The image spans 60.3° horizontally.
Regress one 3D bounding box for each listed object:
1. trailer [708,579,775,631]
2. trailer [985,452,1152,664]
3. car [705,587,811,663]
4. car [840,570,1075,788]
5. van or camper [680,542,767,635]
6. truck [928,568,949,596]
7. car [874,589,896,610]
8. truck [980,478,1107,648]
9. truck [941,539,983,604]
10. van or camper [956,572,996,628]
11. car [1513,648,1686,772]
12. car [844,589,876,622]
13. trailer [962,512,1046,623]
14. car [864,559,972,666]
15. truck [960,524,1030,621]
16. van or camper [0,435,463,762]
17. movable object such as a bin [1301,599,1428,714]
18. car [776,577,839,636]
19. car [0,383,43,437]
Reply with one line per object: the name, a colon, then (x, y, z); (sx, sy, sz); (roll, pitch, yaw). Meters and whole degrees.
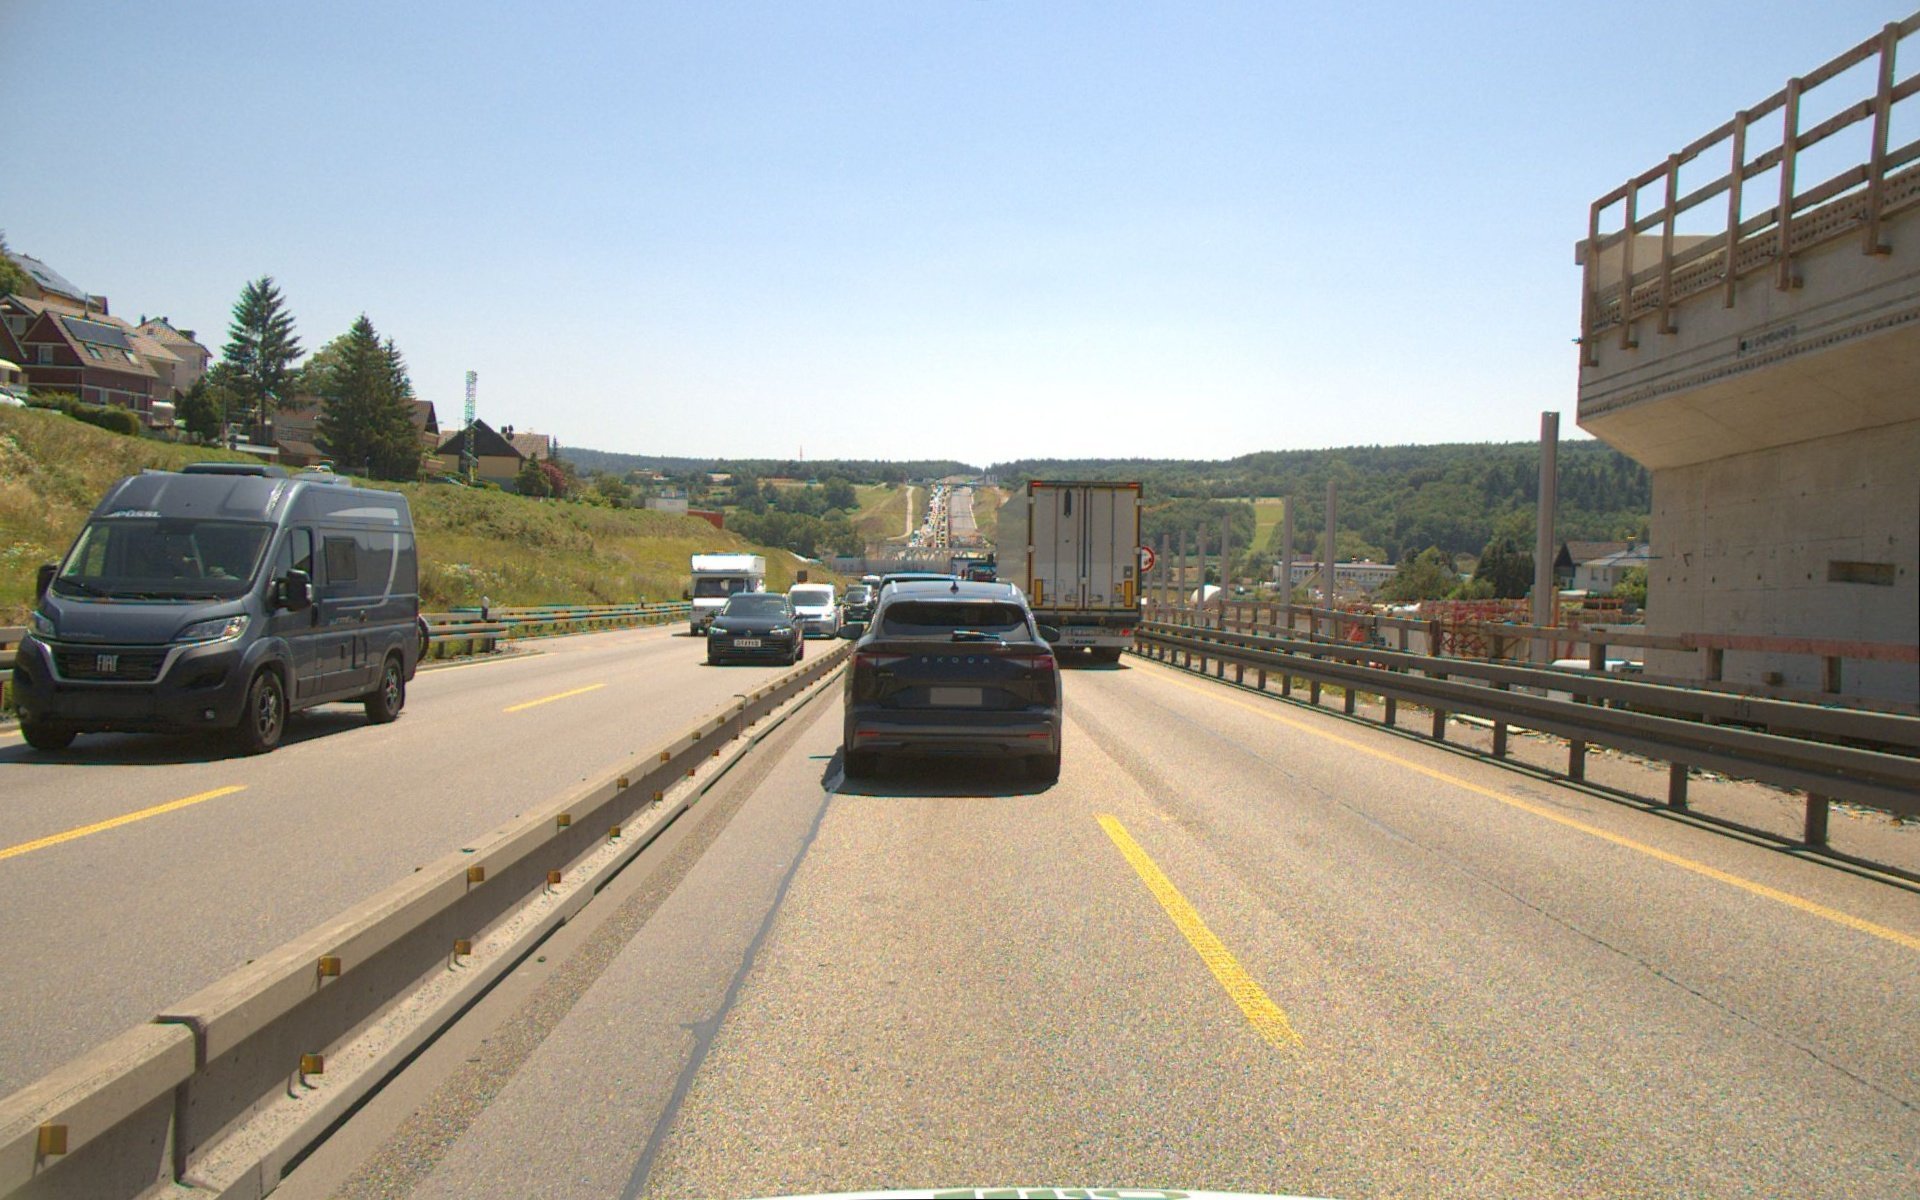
trailer: (-8.554, 0.176, 65.185); (2.059, 1.927, 5.140); (1, 0, -1)
trailer: (2.465, -0.982, 42.636); (3.116, 4.591, 13.105); (1, 1, -1)
car: (-4.267, 0.498, 35.572); (1.805, 1.501, 4.833); (1, 0, -1)
car: (-0.037, 0.612, 14.558); (1.765, 1.635, 3.999); (1, 0, -1)
van or camper: (-8.371, -0.402, 59.276); (2.245, 3.120, 6.922); (1, 0, -1)
truck: (-2.906, -2.379, 222.826); (2.723, 3.737, 6.275); (1, 0, -2)
car: (-6.130, -0.072, 134.951); (1.770, 1.668, 4.170); (0, 0, -2)
truck: (2.323, -1.041, 49.077); (3.116, 4.592, 8.164); (1, 1, -1)
truck: (0.046, -2.094, 126.573); (2.795, 4.543, 11.912); (1, -1, -2)
van or camper: (0.995, 0.060, 101.229); (2.339, 3.338, 6.469); (0, -1, 1)
car: (16.678, 2.767, 43.606); (2.100, 2.906, 7.024); (1, -1, 2)
car: (-4.848, 0.258, 80.529); (1.453, 1.531, 2.804); (0, 0, -1)
trailer: (1.868, -1.248, 76.706); (3.116, 4.592, 14.961); (1, -1, -1)
car: (-0.833, 0.265, 32.621); (1.953, 1.959, 4.506); (1, -1, -2)
truck: (1.695, -1.286, 83.868); (3.116, 4.592, 8.162); (1, -1, -1)
van or camper: (-7.010, -0.023, 16.698); (2.096, 2.618, 6.562); (1, 0, -1)
movable object such as a bin: (18.159, 2.476, 74.965); (3.162, 4.826, 9.651); (1, -1, -2)
car: (-5.075, 0.207, 55.588); (1.800, 1.860, 5.038); (1, 0, -2)
car: (-46.901, -9.236, 80.290); (2.301, 2.077, 4.813); (1, -1, -4)
